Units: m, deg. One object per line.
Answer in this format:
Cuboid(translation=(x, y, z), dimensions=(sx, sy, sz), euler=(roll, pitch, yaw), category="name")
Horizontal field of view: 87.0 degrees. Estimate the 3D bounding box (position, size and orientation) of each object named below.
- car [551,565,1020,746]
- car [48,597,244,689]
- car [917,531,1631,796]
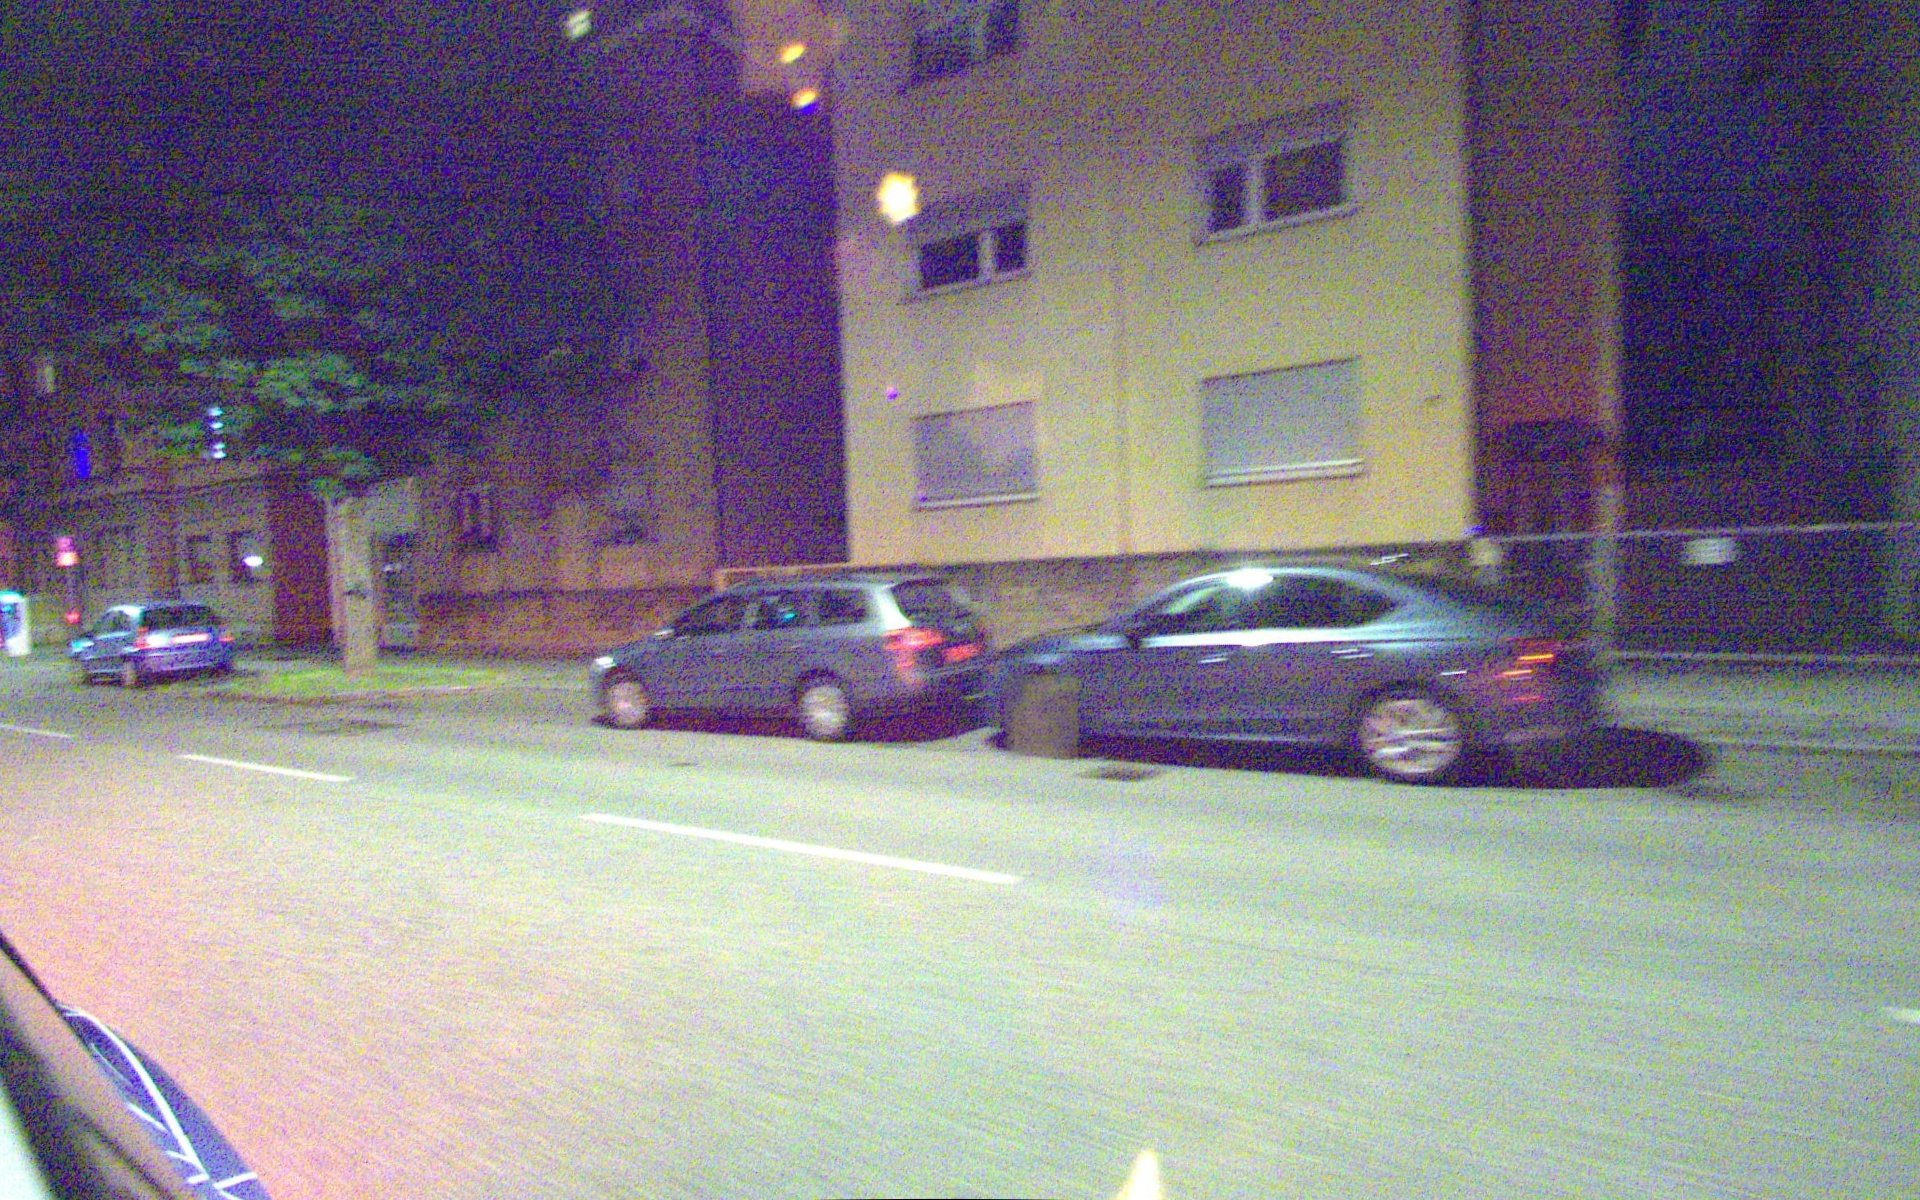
Cuboid(translation=(-1.904, 0.475, 10.395), dimensions=(4.750, 1.497, 1.755), euler=(-1, 1, 31), category="car")
Cuboid(translation=(-15.638, 0.788, 19.406), dimensions=(3.977, 1.505, 1.701), euler=(-1, 2, 33), category="car")
Cuboid(translation=(2.167, 0.373, 7.743), dimensions=(4.848, 1.497, 1.755), euler=(-1, 1, 32), category="car")
